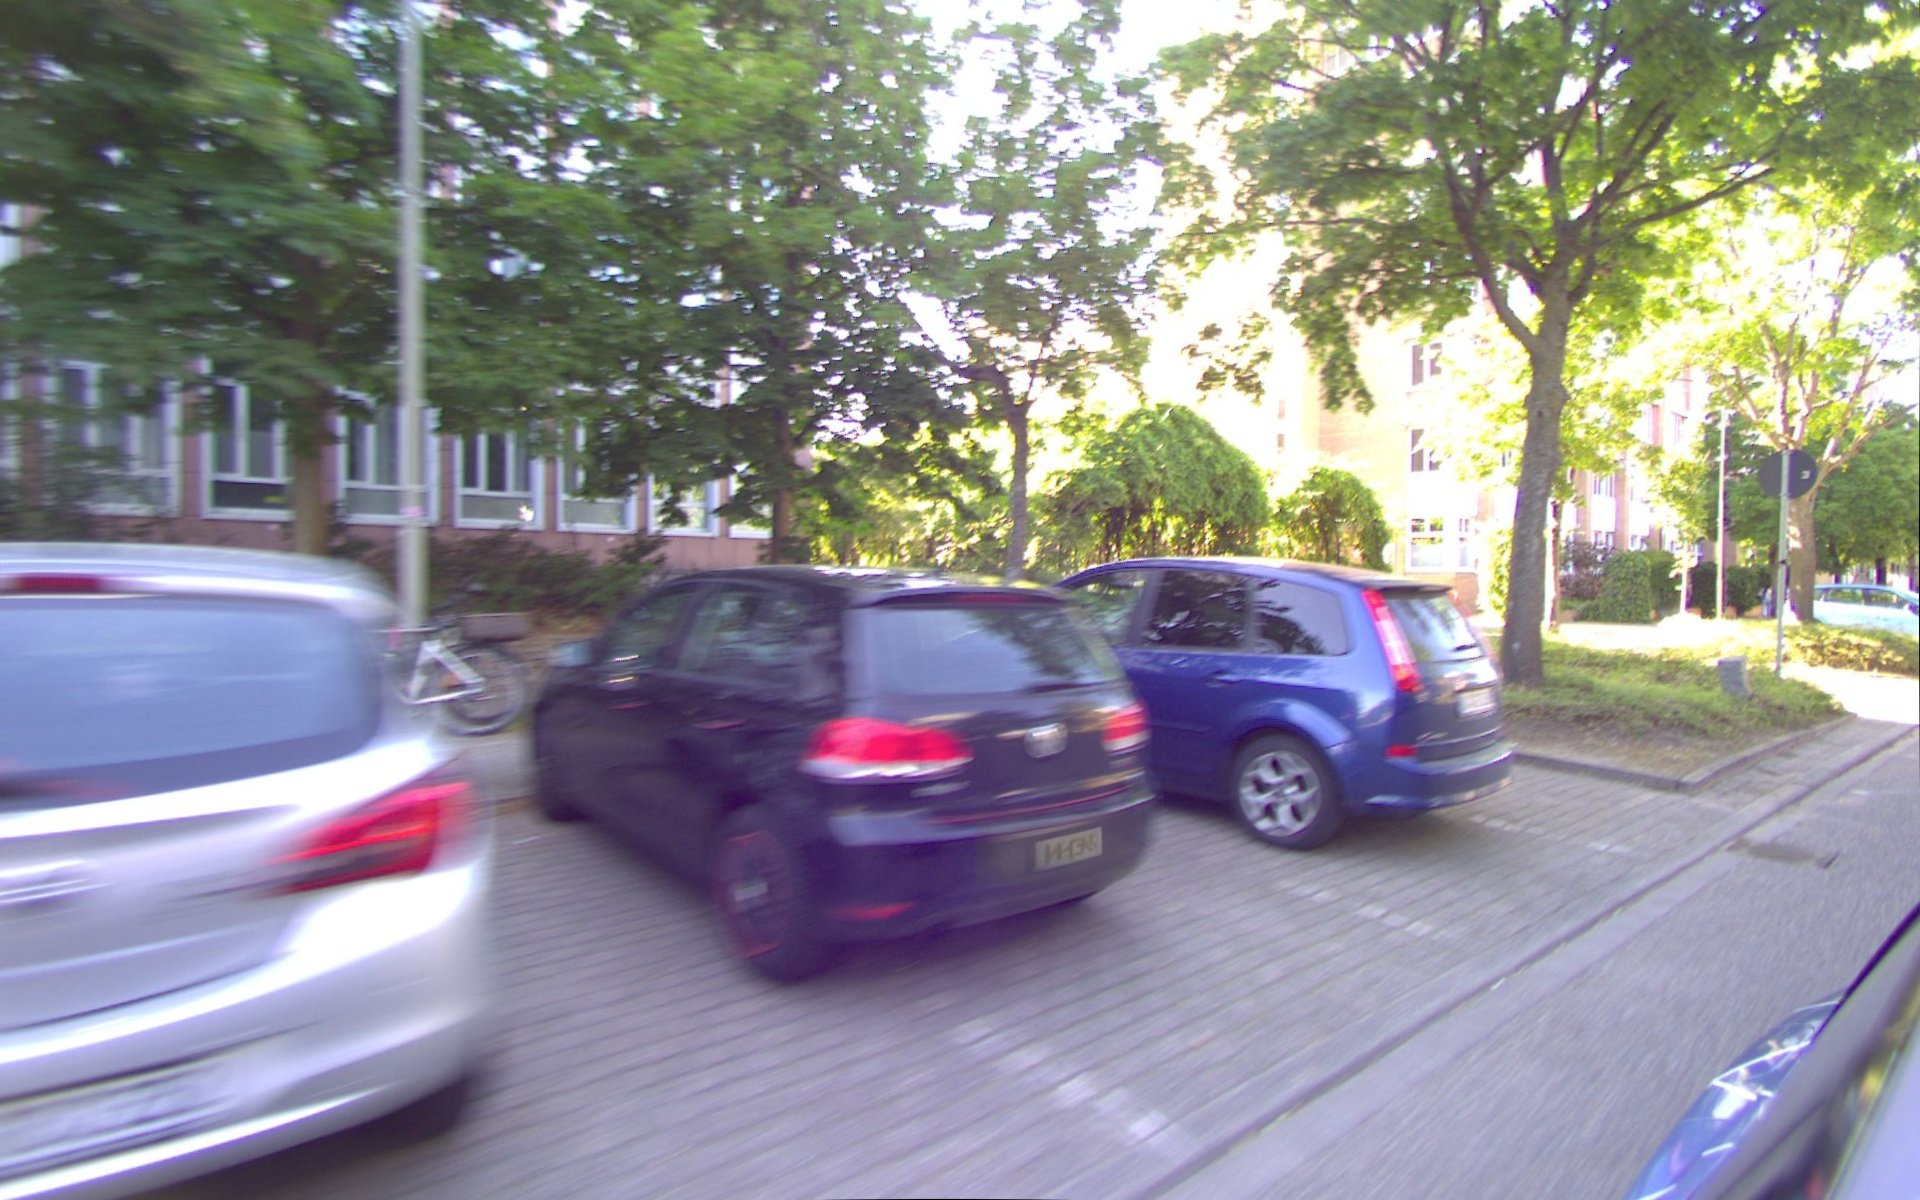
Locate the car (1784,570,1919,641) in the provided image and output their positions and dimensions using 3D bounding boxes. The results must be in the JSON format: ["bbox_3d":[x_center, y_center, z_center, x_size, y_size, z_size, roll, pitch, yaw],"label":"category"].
[{"bbox_3d":[24.343,0.157,26.155,1.878,1.637,4.416,0,4,-40],"label":"car"}]

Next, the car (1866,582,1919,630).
[{"bbox_3d":[32.479,0.284,33.182,1.792,1.501,3.856,1,3,-40],"label":"car"}]

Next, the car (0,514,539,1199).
[{"bbox_3d":[-2.539,0.516,3.158,1.602,1.484,3.650,0,3,-33],"label":"car"}]

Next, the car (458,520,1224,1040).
[{"bbox_3d":[-0.892,0.450,5.064,1.864,1.545,3.887,0,3,-43],"label":"car"}]

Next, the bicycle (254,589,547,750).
[{"bbox_3d":[-4.063,0.461,7.440,1.849,1.059,0.380,0,3,-35],"label":"bicycle"}]

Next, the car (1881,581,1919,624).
[{"bbox_3d":[33.984,0.178,34.338,1.672,1.425,3.809,1,3,-40],"label":"car"}]

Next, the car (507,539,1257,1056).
[{"bbox_3d":[-0.715,0.477,4.960,1.876,1.484,3.750,0,3,-39],"label":"car"}]

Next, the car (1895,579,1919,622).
[{"bbox_3d":[38.036,0.074,37.911,4.353,1.617,1.909,3,2,44],"label":"car"}]

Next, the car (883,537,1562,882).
[{"bbox_3d":[1.497,0.435,7.048,1.826,1.653,4.275,0,2,-42],"label":"car"}]
